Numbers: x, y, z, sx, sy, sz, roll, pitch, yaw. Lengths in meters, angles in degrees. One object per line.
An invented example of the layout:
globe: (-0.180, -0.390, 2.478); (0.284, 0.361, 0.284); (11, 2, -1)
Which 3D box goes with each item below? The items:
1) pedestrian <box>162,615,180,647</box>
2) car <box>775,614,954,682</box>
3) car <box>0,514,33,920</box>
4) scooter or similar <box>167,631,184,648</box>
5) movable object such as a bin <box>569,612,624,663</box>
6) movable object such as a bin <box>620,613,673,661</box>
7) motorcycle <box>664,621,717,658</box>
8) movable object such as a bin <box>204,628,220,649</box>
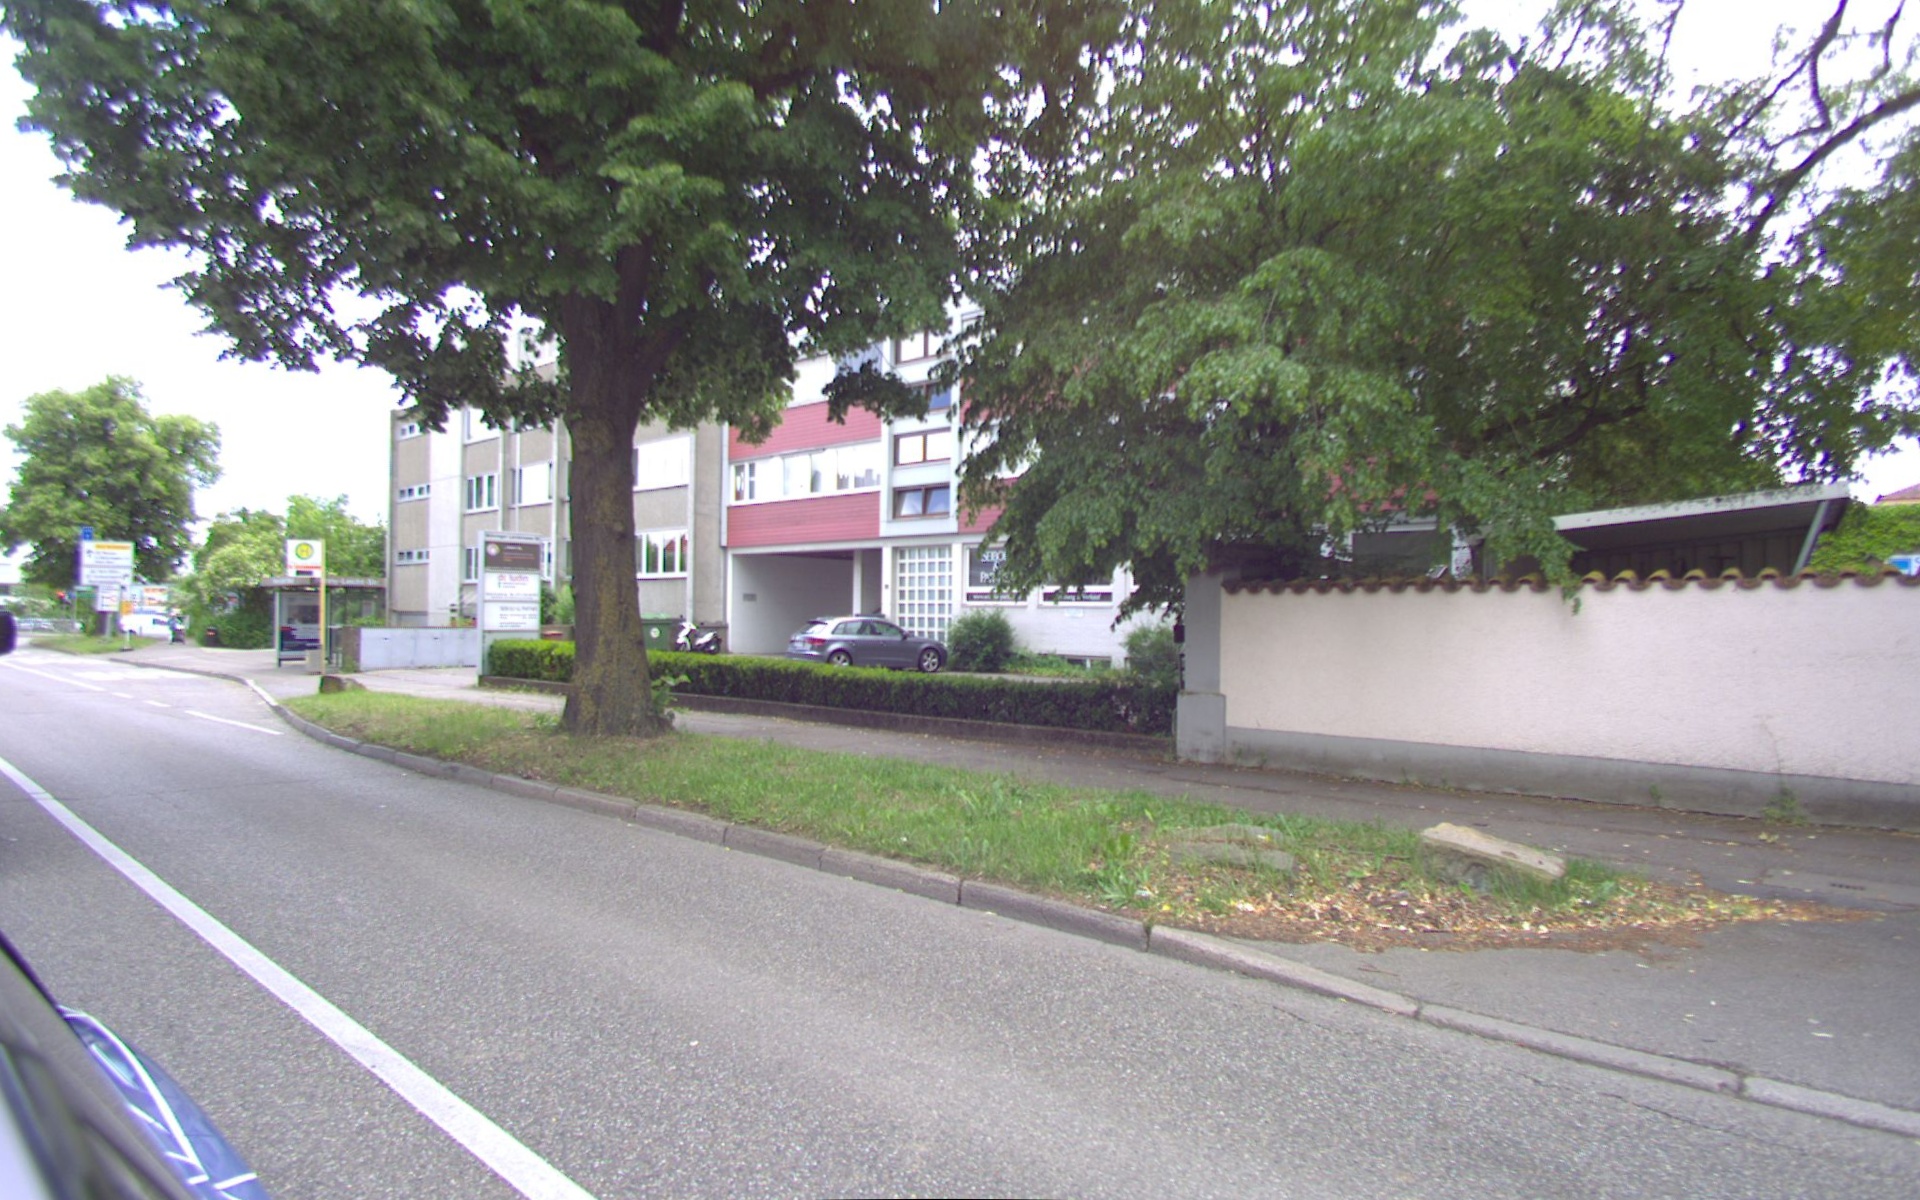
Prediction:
pedestrian: (-39.371, 1.561, 50.528); (0.662, 1.570, 0.521); (0, 0, -32)
car: (-2.347, 1.138, 25.232); (4.082, 1.490, 1.817); (0, 0, -35)
car: (-7.425, 0.580, 6.100); (5.710, 1.987, 1.974); (0, 0, 40)
scooter or similar: (-38.714, 1.935, 49.940); (0.598, 0.792, 0.861); (0, 0, -32)
movable object such as a bin: (-11.076, 1.118, 30.857); (0.992, 1.476, 1.285); (0, 0, 41)
movable object such as a bin: (-9.936, 1.159, 32.096); (0.884, 1.476, 1.347); (0, 0, 41)
motorcycle: (-8.883, 1.288, 33.428); (0.639, 1.148, 1.624); (0, 0, 41)
movable object such as a bin: (-34.622, 1.776, 46.823); (0.558, 0.934, 0.609); (0, 0, -33)
